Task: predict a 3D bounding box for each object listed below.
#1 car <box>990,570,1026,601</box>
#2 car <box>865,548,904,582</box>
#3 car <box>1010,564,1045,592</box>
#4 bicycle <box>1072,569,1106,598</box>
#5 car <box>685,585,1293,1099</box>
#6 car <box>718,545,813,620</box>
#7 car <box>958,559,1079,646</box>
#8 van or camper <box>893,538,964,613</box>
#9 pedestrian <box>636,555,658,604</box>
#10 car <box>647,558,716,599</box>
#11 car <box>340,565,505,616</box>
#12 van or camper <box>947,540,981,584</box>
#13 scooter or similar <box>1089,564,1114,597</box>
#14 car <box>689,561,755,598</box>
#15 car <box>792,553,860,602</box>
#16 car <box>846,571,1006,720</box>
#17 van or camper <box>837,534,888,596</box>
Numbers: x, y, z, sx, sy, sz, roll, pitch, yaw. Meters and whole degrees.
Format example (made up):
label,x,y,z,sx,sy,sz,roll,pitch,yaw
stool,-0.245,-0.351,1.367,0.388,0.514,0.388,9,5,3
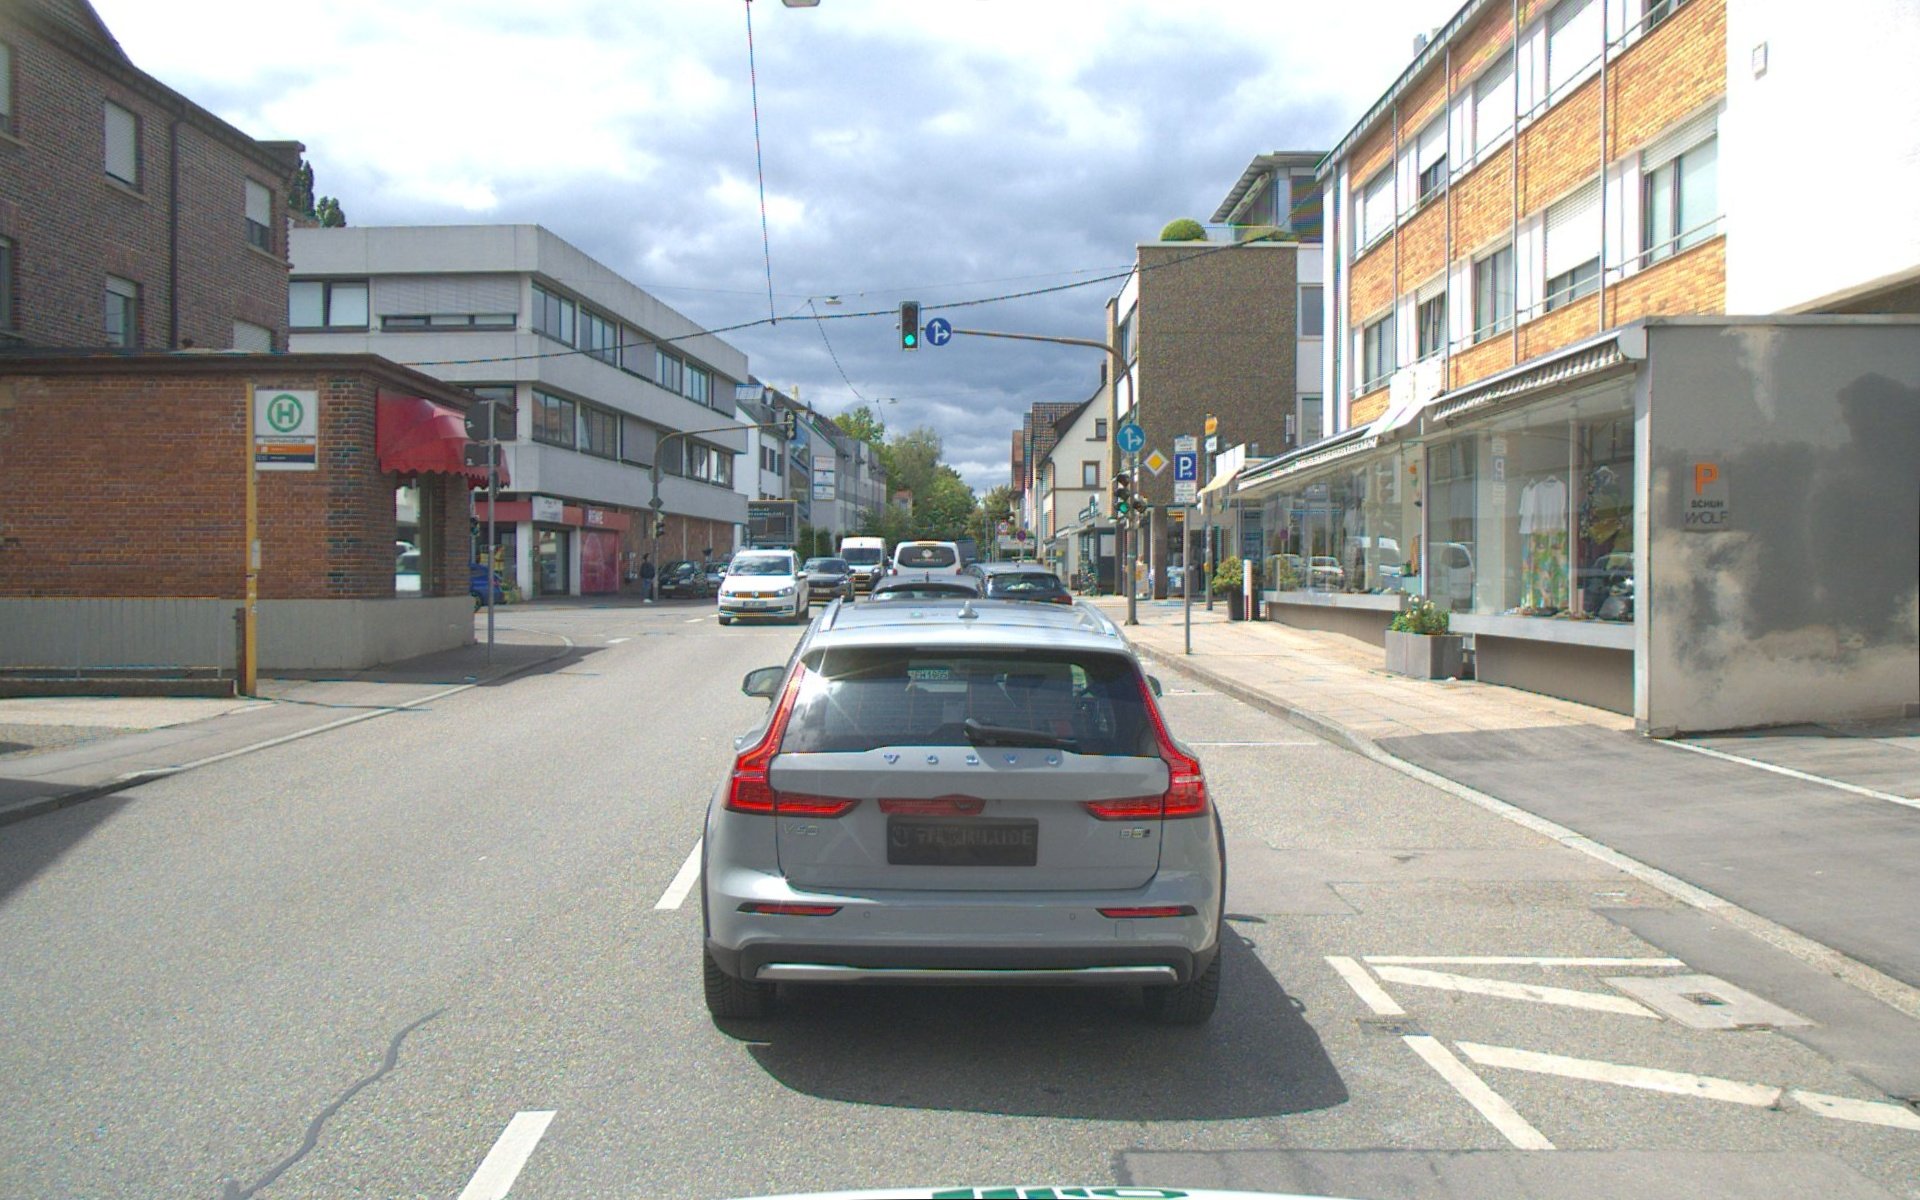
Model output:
label,x,y,z,sx,sy,sz,roll,pitch,yaw
car,2.083,-0.625,72.621,1.409,1.310,3.247,0,0,-1
car,-3.892,-1.829,86.082,1.744,1.668,4.221,-2,1,1
car,3.801,-1.232,93.869,1.676,1.490,3.998,1,0,-2
bicycle,5.358,-0.708,68.853,0.546,1.164,2.289,-1,1,-18
car,0.060,0.704,6.882,1.798,1.512,3.999,0,0,-1
car,-4.407,-0.391,37.978,1.739,1.641,4.119,0,0,-1
car,0.918,0.029,27.996,1.771,1.370,3.716,0,0,-2
van or camper,-0.826,-0.602,43.709,1.782,1.867,3.999,0,-1,-1
pedestrian,-10.849,-0.716,57.376,0.606,1.670,0.660,-1,1,1
car,-10.808,-0.846,64.373,1.747,1.490,4.089,1,1,3
car,-15.549,-0.288,47.886,4.292,1.361,1.982,-1,1,-28
van or camper,0.280,-2.417,105.498,2.080,2.733,4.782,-1,1,0
scooter or similar,5.611,-0.770,65.680,0.336,1.275,1.235,-3,1,-26
car,-10.074,-0.884,70.177,1.864,1.468,4.446,1,1,4
car,-4.311,-0.706,53.782,1.753,1.537,3.846,0,0,2
car,-0.369,0.446,18.713,1.617,1.508,3.607,1,1,-1
van or camper,-4.278,-1.598,73.174,2.105,2.600,5.436,-1,2,-2
